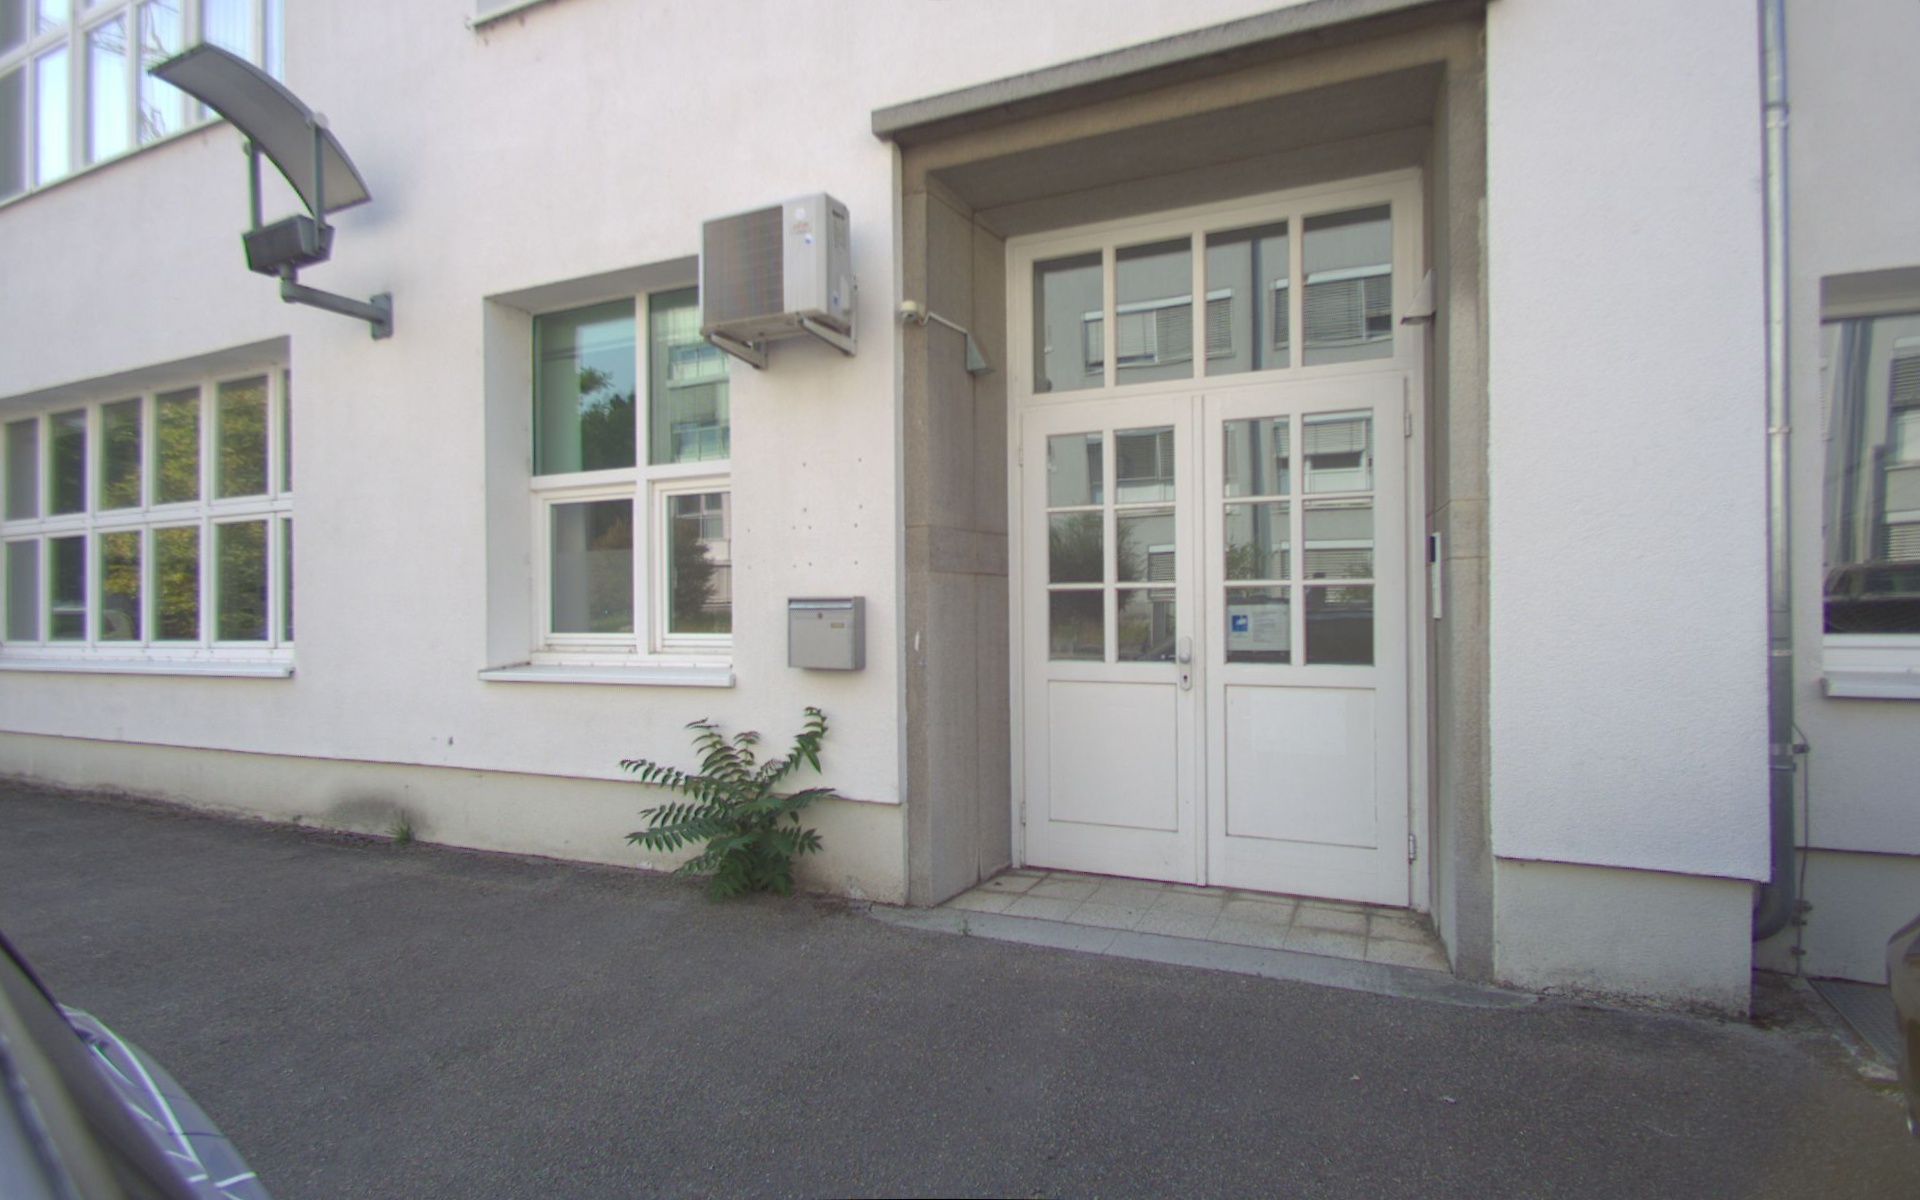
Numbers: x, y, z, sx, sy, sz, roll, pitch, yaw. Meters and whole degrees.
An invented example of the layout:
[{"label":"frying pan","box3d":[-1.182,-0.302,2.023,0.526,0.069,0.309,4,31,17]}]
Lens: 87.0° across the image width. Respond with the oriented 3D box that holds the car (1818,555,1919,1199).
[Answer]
[{"label":"car","box3d":[3.671,0.592,0.841,4.109,1.439,1.785,-1,0,23]}]
